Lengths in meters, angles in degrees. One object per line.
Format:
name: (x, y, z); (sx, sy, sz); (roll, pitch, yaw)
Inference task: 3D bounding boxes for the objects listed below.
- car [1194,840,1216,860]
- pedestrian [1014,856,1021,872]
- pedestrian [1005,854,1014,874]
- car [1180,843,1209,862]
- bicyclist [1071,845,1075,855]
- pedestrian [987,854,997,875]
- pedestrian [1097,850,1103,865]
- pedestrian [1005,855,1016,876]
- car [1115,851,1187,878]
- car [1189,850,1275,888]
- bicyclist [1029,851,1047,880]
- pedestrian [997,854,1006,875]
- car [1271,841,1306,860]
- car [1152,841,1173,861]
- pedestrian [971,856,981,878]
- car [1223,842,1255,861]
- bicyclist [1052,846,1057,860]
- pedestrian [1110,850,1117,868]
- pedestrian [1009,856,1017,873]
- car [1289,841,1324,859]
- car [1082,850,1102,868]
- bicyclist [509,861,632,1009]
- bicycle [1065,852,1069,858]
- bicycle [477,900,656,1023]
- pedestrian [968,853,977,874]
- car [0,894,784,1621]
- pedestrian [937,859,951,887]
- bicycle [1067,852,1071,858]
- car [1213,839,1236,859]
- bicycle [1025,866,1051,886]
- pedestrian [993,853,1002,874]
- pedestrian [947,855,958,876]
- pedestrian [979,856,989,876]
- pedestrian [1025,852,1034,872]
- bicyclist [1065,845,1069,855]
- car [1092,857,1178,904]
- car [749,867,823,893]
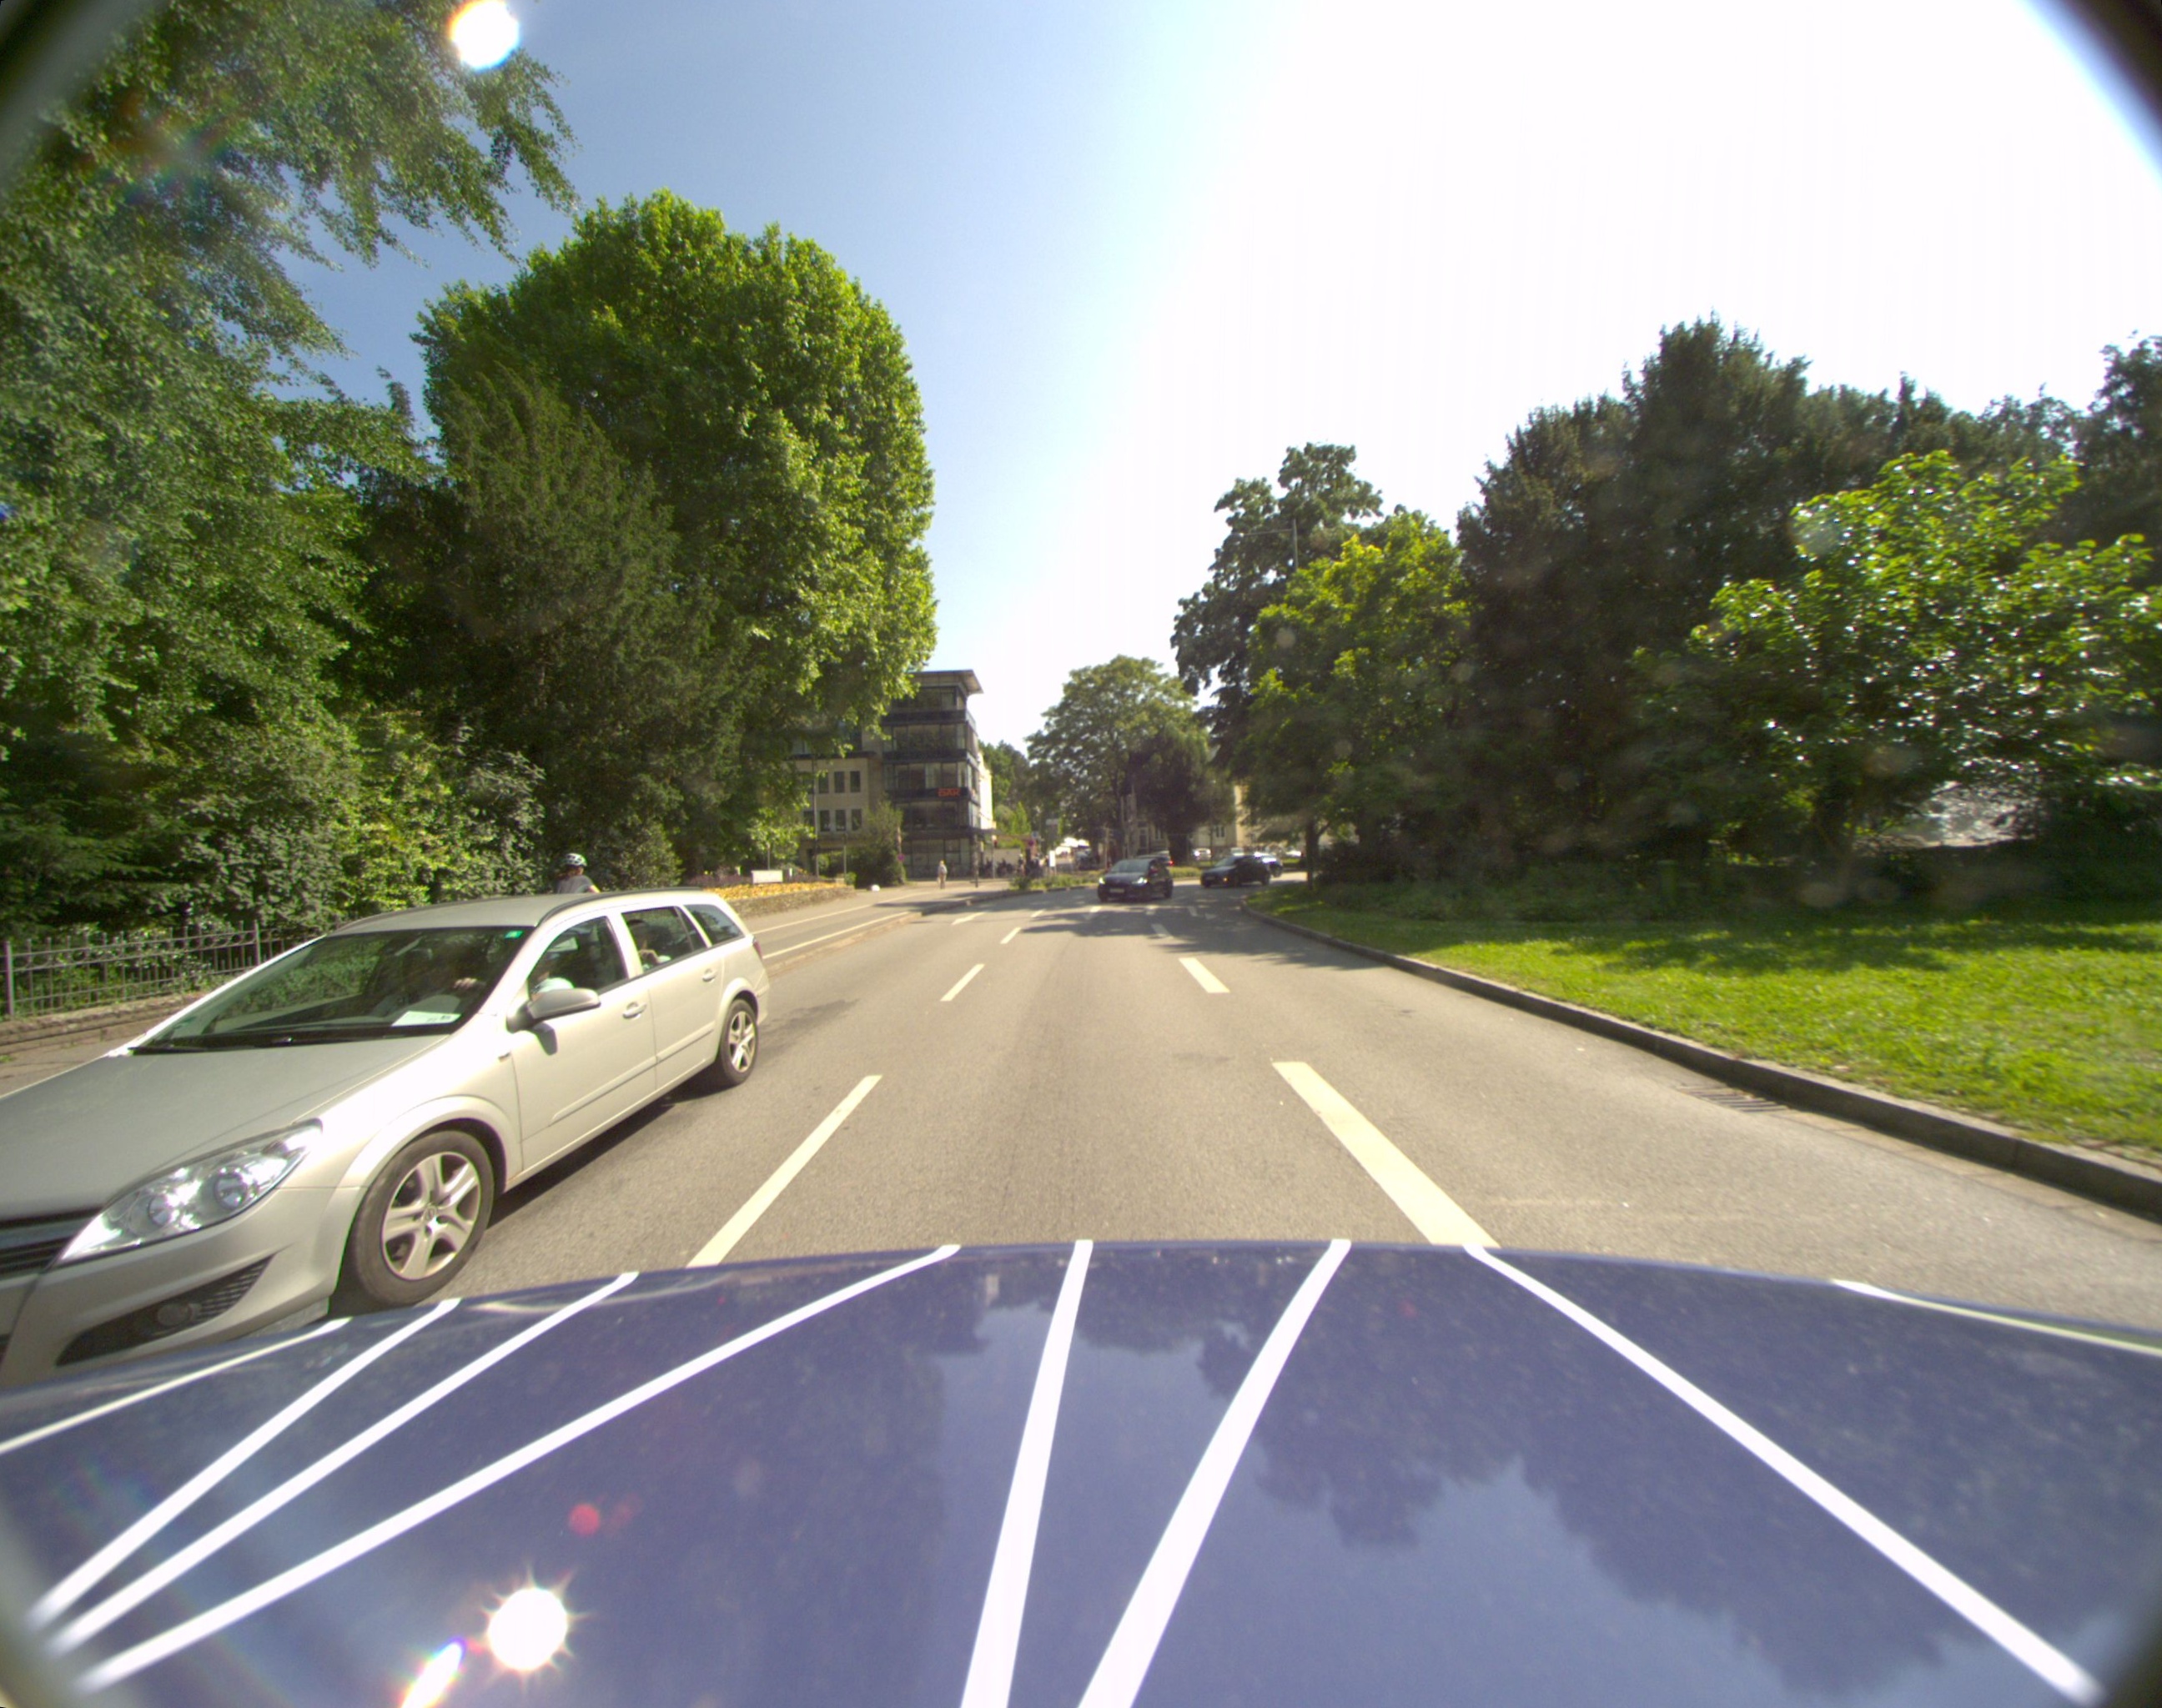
car: (13.381, -0.447, 82.364); (1.850, 2.002, 4.001); (-2, 0, 2)
pedestrian: (-6.685, 1.061, 80.415); (0.602, 1.587, 0.604); (-2, 0, 4)
pedestrian: (-6.286, 0.873, 66.778); (0.602, 1.695, 0.604); (-3, 0, 4)
car: (10.539, -0.112, 70.835); (1.851, 1.652, 3.998); (-2, 0, -4)
bicyclist: (-1.631, -0.808, 158.386); (0.573, 2.002, 0.907); (-2, 0, 10)
pedestrian: (-7.646, 0.902, 65.258); (0.602, 1.695, 0.604); (-3, 0, 4)
pedestrian: (2.205, 0.434, 86.710); (0.602, 1.695, 0.604); (-3, 0, -1)
pedestrian: (-5.755, 0.941, 62.099); (0.701, 1.695, 0.603); (-3, 0, 4)
car: (4.564, 0.690, 50.075); (4.418, 1.545, 1.684); (-3, 0, -7)
car: (7.219, 0.654, 36.147); (4.150, 1.674, 1.885); (-1, 1, -41)
bicyclist: (-2.459, 0.649, 43.455); (0.710, 1.603, 0.733); (-2, 0, 16)
pedestrian: (-6.863, 0.898, 65.446); (0.602, 1.695, 0.604); (-3, 0, 4)
car: (19.424, -0.334, 71.280); (1.851, 1.652, 3.998); (-2, 0, -4)
car: (8.616, -0.317, 80.805); (1.850, 2.002, 4.001); (-2, 0, 2)
pedestrian: (-8.512, 1.055, 61.686); (0.653, 1.695, 0.646); (-3, 0, 1)
car: (14.649, -0.211, 70.617); (1.851, 1.652, 3.998); (-2, 0, -4)
bicyclist: (-3.831, -0.155, 108.401); (0.574, 2.002, 0.749); (-2, 0, 1)
pedestrian: (3.273, 0.496, 76.279); (0.602, 1.695, 0.604); (-3, 0, -1)
pedestrian: (-6.573, 1.006, 73.397); (0.602, 1.695, 0.604); (-3, 0, -1)
car: (21.373, -0.348, 72.145); (1.851, 1.568, 3.998); (-2, 0, -4)
car: (1.134, 0.522, 79.715); (1.851, 1.777, 3.999); (1, 1, -1)
bicyclist: (-5.981, 0.910, 8.962); (0.766, 1.626, 0.943); (-1, 1, -3)
bicycle: (-2.865, 0.124, 154.368); (0.566, 1.154, 1.900); (-2, 0, 7)
bicycle: (-5.944, 1.188, 8.961); (0.759, 1.114, 2.001); (-1, 1, -2)
pedestrian: (-9.281, 0.804, 65.030); (0.602, 1.695, 0.604); (-3, 0, 4)
car: (-3.334, 1.092, 3.884); (1.711, 1.513, 4.407); (-3, -1, 2)
pedestrian: (-8.215, 1.133, 45.559); (0.711, 1.663, 0.534); (-2, 0, -4)
bicycle: (-2.322, 0.199, 143.452); (0.566, 1.154, 1.899); (-2, 0, 4)
car: (15.505, -0.498, 82.182); (1.850, 2.002, 4.001); (-2, 0, 2)
bicycle: (-2.438, 1.223, 43.434); (0.710, 1.048, 2.210); (-2, 0, 16)
pedestrian: (-6.922, 0.813, 62.989); (0.604, 1.695, 0.690); (-3, 0, -1)
pedestrian: (-10.459, 0.961, 61.873); (0.690, 1.695, 0.602); (-3, 0, -2)
pedestrian: (-8.313, 1.001, 65.158); (0.602, 1.695, 0.604); (-3, 0, 4)
pedestrian: (-4.363, 0.686, 64.866); (0.602, 1.695, 0.604); (-3, 0, 4)
bicyclist: (-2.819, -0.750, 154.373); (0.573, 2.002, 0.907); (-2, 0, 6)
car: (1.989, 0.884, 26.864); (1.807, 1.443, 3.960); (-1, 1, 23)
car: (-18.483, 1.635, 47.754); (3.953, 1.443, 1.811); (-2, 0, -7)
